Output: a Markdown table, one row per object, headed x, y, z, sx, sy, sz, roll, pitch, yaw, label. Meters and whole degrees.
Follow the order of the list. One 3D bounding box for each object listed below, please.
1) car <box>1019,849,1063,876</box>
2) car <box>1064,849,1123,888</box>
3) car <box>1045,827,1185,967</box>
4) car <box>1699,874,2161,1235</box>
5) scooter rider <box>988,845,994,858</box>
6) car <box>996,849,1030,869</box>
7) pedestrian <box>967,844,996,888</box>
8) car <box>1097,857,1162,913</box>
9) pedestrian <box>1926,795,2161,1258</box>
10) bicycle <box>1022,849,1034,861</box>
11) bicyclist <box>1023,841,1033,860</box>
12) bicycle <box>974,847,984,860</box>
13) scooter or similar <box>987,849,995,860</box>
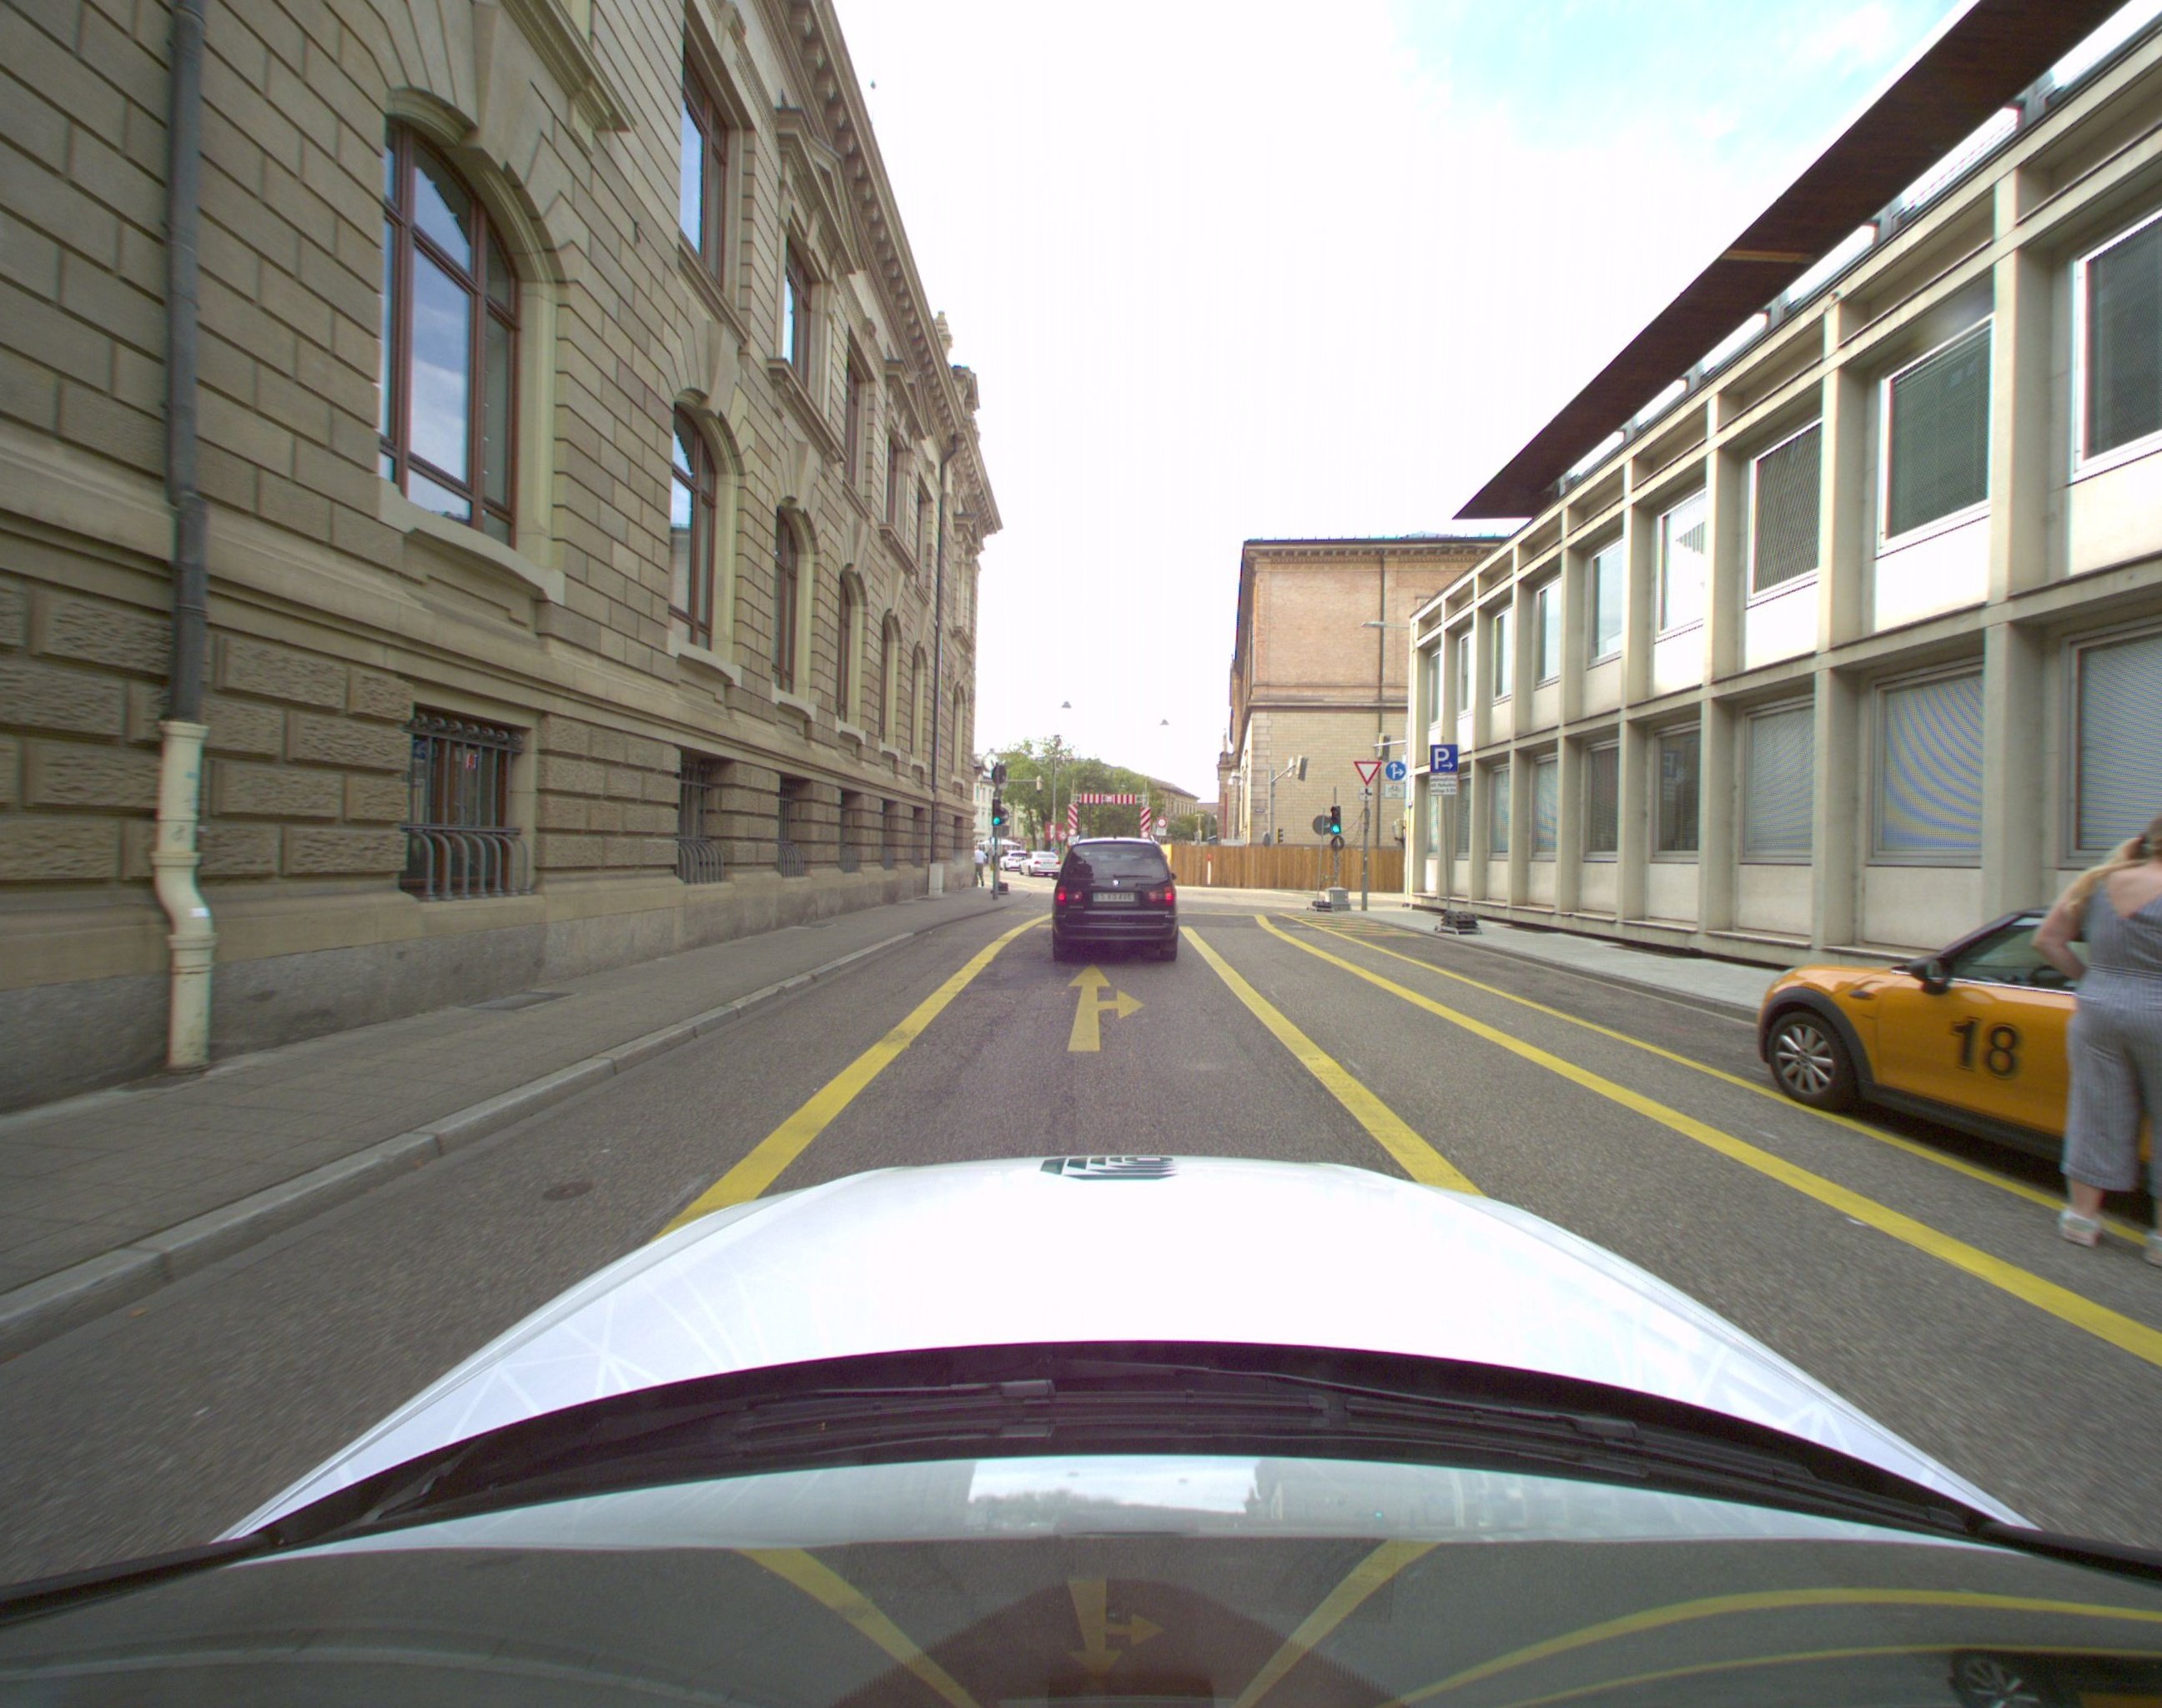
| x | y | z | sx | sy | sz | roll | pitch | yaw | label |
| --- | --- | --- | --- | --- | --- | --- | --- | --- | --- |
| -2.337 | 0.460 | 47.060 | 1.707 | 1.501 | 3.979 | 1 | 0 | -16 | car |
| 0.501 | 0.614 | 35.753 | 1.774 | 1.586 | 3.984 | 1 | 0 | -11 | car |
| 0.586 | 0.568 | 12.699 | 1.782 | 1.790 | 4.107 | 1 | 0 | 4 | car |
| 5.389 | 0.912 | 4.138 | 1.673 | 1.435 | 3.891 | 4 | 0 | 4 | car |
| -10.371 | -0.260 | 93.686 | 0.596 | 1.490 | 0.680 | 1 | -1 | 6 | scooter rider |
| -4.710 | 0.356 | 56.229 | 1.653 | 1.321 | 3.656 | 1 | 0 | -16 | car |
| -4.243 | 0.499 | 34.564 | 0.797 | 1.819 | 1.038 | 3 | -1 | -30 | pedestrian |
| 1.353 | 0.840 | 24.009 | 1.672 | 1.469 | 4.103 | 1 | 0 | 0 | car |
| 4.302 | 0.662 | 3.462 | 0.695 | 1.764 | 0.706 | 1 | -1 | 2 | pedestrian |
| -5.225 | 0.126 | 80.462 | 0.962 | 1.112 | 2.790 | 1 | 0 | 0 | bicycle |
| -5.217 | -0.346 | 80.425 | 0.962 | 1.782 | 0.986 | 1 | -1 | 0 | bicyclist |
| -10.171 | -0.065 | 80.953 | 0.925 | 1.255 | 2.535 | 1 | 0 | -6 | bicycle |
| -10.387 | 0.047 | 93.660 | 0.596 | 1.255 | 1.555 | 1 | 0 | 6 | scooter or similar |
